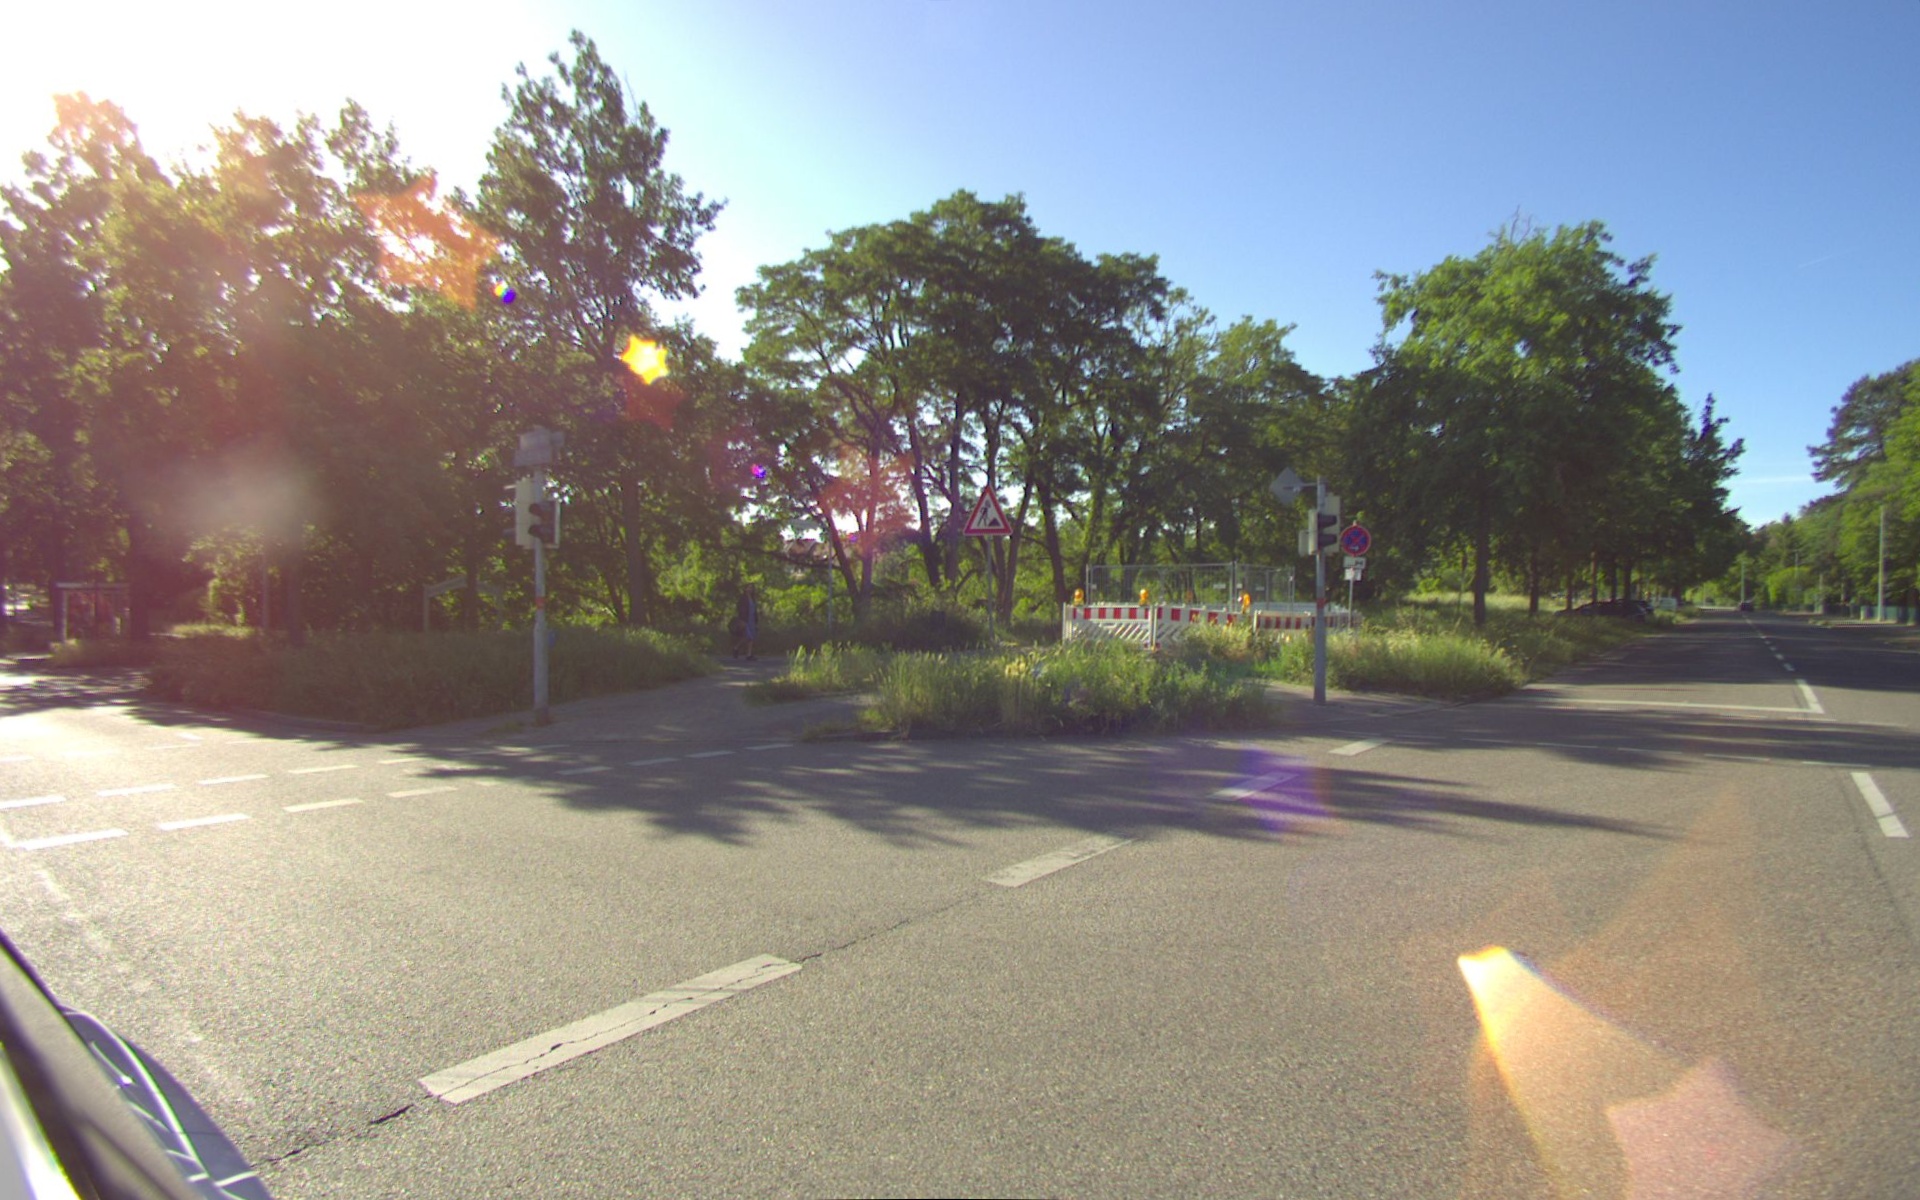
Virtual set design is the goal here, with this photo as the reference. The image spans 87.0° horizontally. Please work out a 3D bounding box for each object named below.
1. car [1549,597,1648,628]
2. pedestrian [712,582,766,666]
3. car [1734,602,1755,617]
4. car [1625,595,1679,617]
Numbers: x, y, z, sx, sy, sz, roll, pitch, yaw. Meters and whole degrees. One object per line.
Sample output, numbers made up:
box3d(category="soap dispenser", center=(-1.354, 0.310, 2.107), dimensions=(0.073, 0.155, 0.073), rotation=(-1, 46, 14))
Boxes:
box3d(category="car", center=(31.760, 0.612, 50.406), dimensions=(3.996, 1.432, 1.620), rotation=(-1, 1, 40))
box3d(category="pedestrian", center=(-4.506, 0.478, 20.625), dimensions=(0.647, 1.645, 0.790), rotation=(-1, 1, 41))
box3d(category="car", center=(112.983, 1.358, 145.854), dimensions=(1.994, 2.028, 3.956), rotation=(-1, 1, 32))
box3d(category="car", center=(64.610, 0.587, 94.488), dimensions=(3.994, 1.940, 1.975), rotation=(-1, 1, 38))
